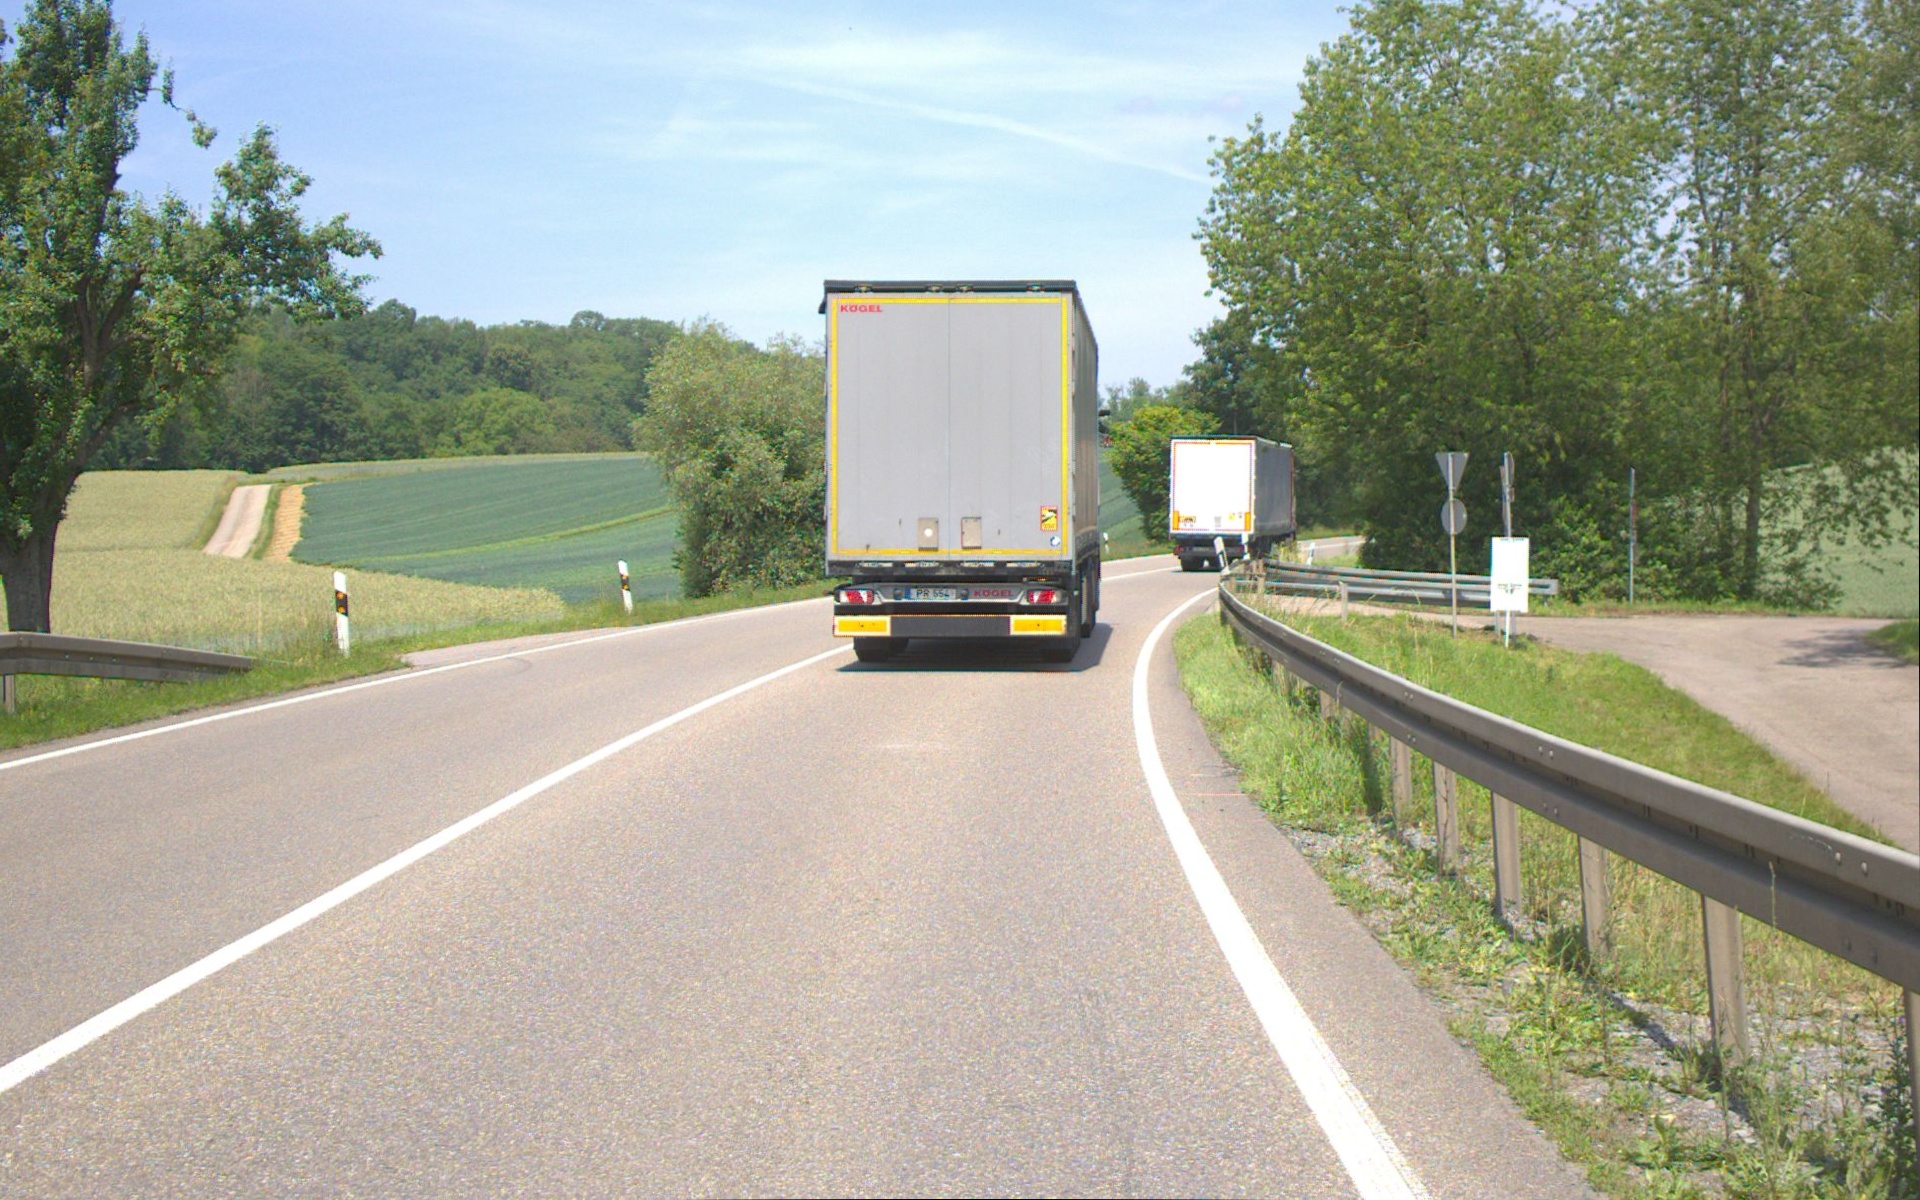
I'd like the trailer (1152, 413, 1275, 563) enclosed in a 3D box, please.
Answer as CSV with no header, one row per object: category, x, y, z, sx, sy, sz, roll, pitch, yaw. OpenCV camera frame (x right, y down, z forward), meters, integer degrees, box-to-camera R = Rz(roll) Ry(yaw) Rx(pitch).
trailer,8.091,-3.367,108.079,3.366,4.302,13.861,0,0,6

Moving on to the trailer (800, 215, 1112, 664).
trailer,0.221,-1.762,41.283,3.118,4.484,13.886,0,1,2

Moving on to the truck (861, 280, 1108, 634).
truck,0.455,-1.885,47.030,3.118,4.479,6.811,0,1,3
